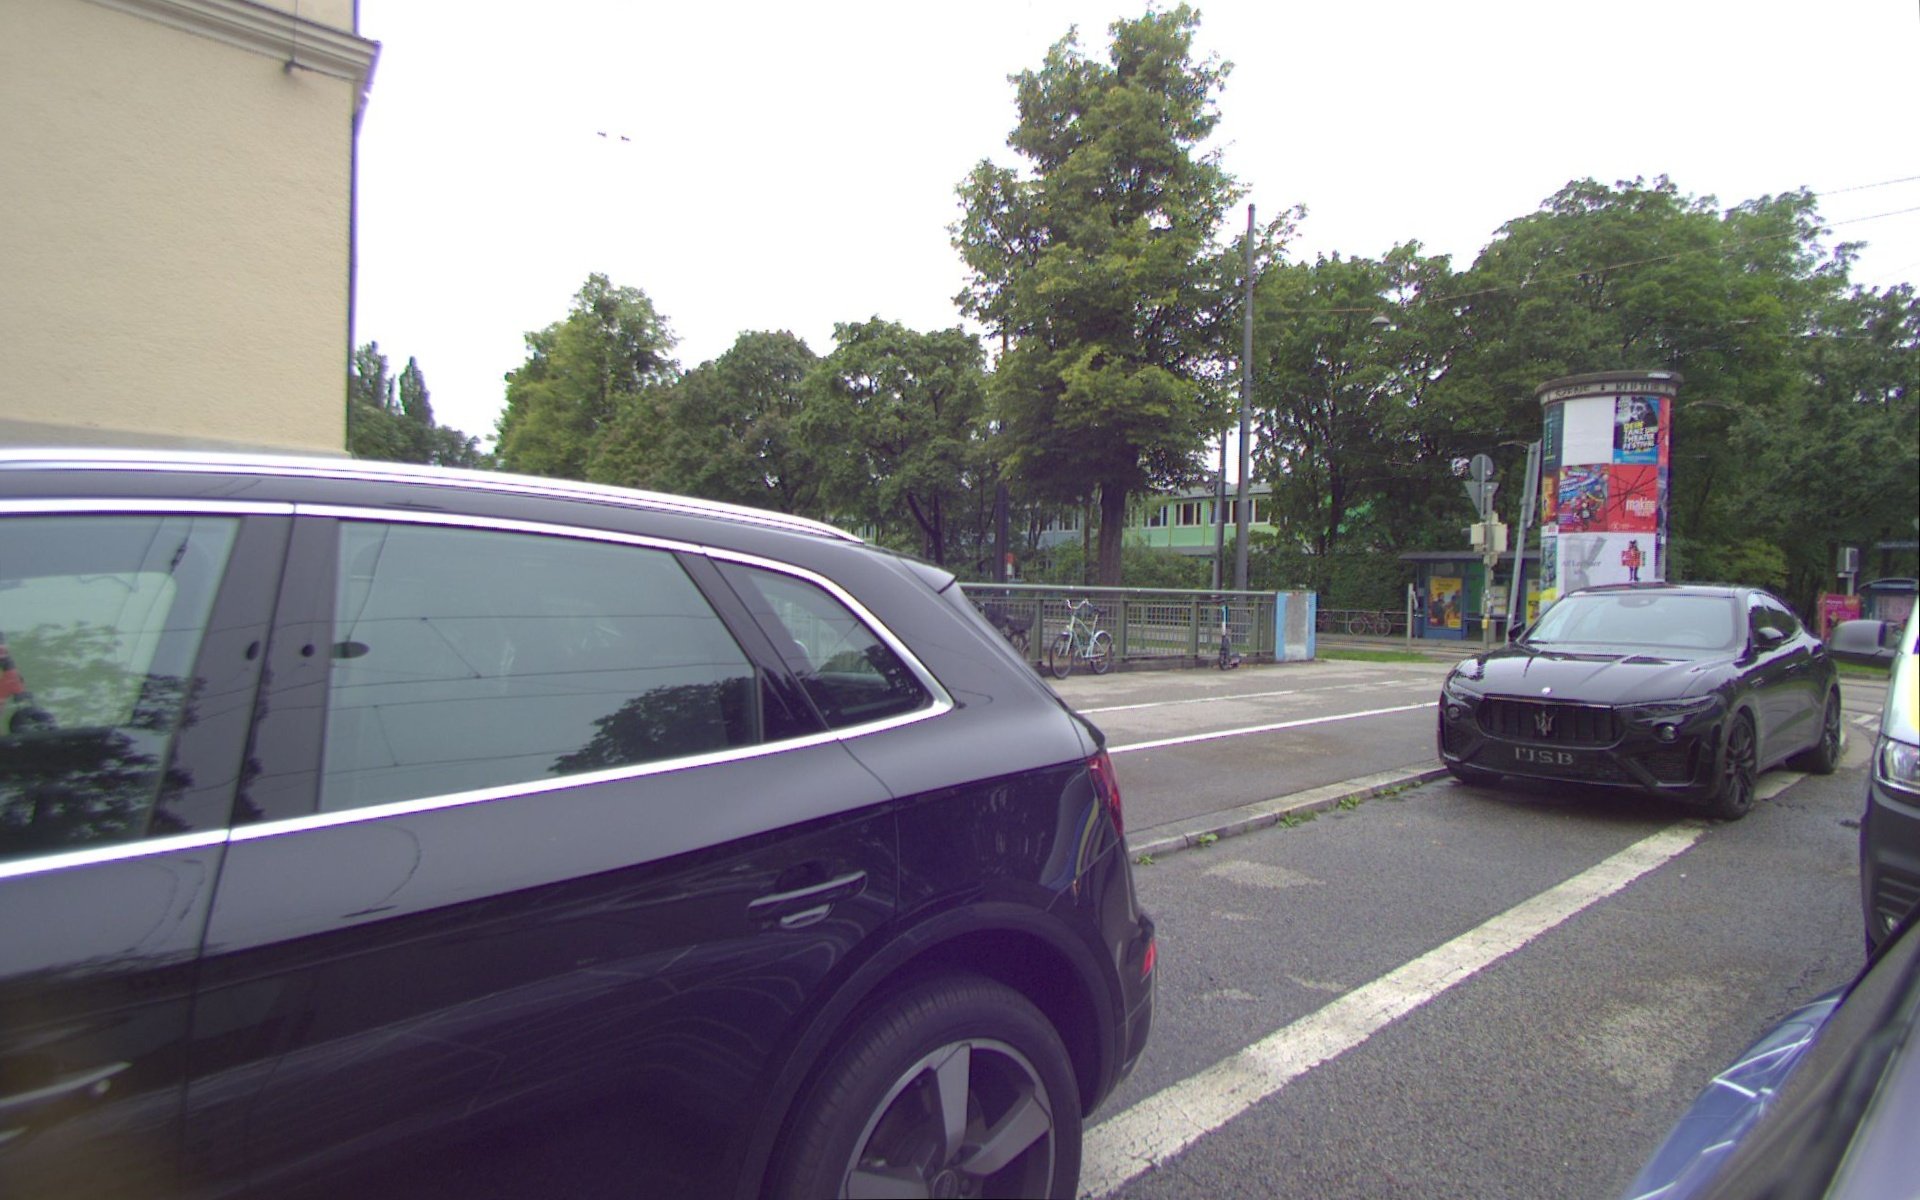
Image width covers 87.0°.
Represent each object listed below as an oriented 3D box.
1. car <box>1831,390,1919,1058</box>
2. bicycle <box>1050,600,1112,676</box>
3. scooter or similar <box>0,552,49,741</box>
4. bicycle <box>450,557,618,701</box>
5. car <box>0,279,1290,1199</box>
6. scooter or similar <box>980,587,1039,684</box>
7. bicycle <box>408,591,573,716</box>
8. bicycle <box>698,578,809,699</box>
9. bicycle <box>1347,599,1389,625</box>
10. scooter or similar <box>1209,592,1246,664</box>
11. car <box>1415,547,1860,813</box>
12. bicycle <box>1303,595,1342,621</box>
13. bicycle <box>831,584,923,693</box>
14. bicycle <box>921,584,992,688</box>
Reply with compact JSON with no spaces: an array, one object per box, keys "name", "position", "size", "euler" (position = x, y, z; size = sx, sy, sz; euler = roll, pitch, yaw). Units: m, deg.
[{"name":"car","position":[5.556,0.407,4.491],"size":[5.612,2.078,1.901],"euler":[0,2,-43]},{"name":"bicycle","position":[1.845,0.543,15.235],"size":[0.263,1.096,1.524],"euler":[-1,-1,34]},{"name":"scooter or similar","position":[-7.096,0.329,7.027],"size":[1.122,1.329,0.261],"euler":[0,0,-41]},{"name":"bicycle","position":[-4.184,0.268,10.011],"size":[1.511,1.329,0.332],"euler":[0,-1,-42]},{"name":"car","position":[-1.431,0.519,1.747],"size":[4.408,1.679,1.778],"euler":[0,0,-40]},{"name":"scooter or similar","position":[0.701,0.465,14.002],"size":[0.242,1.279,1.482],"euler":[-1,0,27]},{"name":"bicycle","position":[-4.448,0.476,9.666],"size":[0.286,1.120,1.421],"euler":[1,0,42]},{"name":"bicycle","position":[-2.327,0.411,11.528],"size":[0.281,1.298,1.391],"euler":[-1,-1,38]},{"name":"bicycle","position":[15.373,0.447,38.175],"size":[0.366,0.964,1.483],"euler":[0,1,-38]},{"name":"scooter or similar","position":[4.667,0.474,17.626],"size":[0.224,1.227,1.006],"euler":[-1,-1,40]},{"name":"car","position":[5.794,0.517,8.412],"size":[4.582,1.630,1.904],"euler":[1,-1,-40]},{"name":"bicycle","position":[14.285,0.310,39.878],"size":[0.366,0.964,1.483],"euler":[0,1,-38]},{"name":"bicycle","position":[-1.021,0.454,12.680],"size":[0.281,1.298,1.391],"euler":[-1,-1,38]},{"name":"bicycle","position":[-0.028,0.448,13.355],"size":[0.280,1.298,1.395],"euler":[-1,-1,29]}]
